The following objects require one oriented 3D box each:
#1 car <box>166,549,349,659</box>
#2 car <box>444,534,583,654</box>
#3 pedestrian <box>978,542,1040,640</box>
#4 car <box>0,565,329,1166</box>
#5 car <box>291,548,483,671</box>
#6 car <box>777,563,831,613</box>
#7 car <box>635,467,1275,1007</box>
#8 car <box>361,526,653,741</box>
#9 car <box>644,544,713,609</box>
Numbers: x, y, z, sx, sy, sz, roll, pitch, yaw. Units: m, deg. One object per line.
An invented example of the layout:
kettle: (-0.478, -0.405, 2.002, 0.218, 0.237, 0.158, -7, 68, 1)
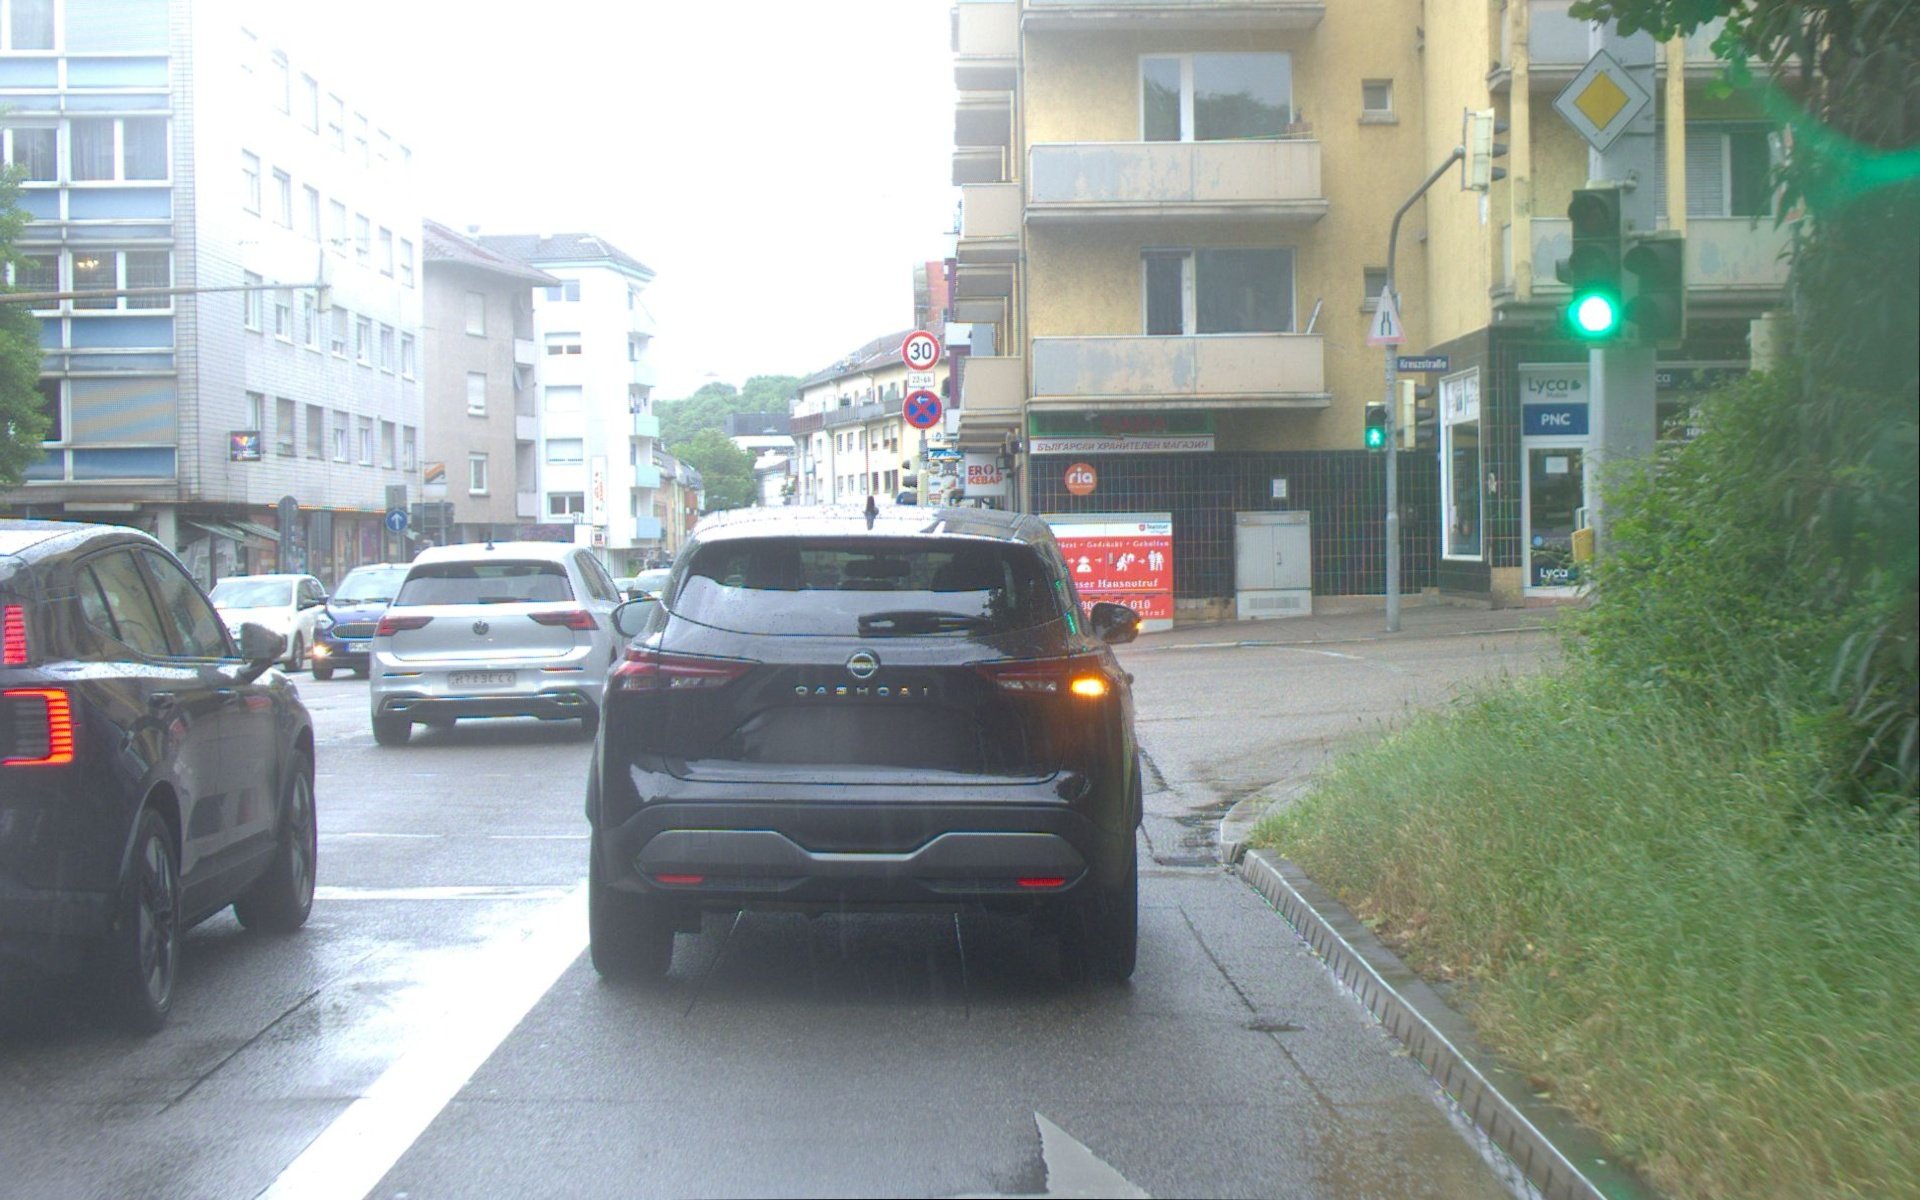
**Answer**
car: (-10.586, 0.029, 52.069, 1.779, 1.473, 3.793, -4, 1, 2)
car: (-7.207, -0.131, 55.827, 1.779, 1.809, 4.407, -2, 1, -2)
pedestrian: (0.822, -0.160, 58.121, 0.835, 1.553, 0.833, -7, 1, -2)
car: (-3.024, 0.636, 10.381, 1.613, 1.415, 3.967, 0, 1, -2)
car: (-7.648, 0.091, 46.178, 1.787, 1.486, 3.814, -3, 1, 2)
car: (-6.723, -0.525, 148.365, 1.993, 2.007, 4.000, -3, 1, 1)
car: (-0.082, 0.387, 12.656, 1.959, 1.647, 4.001, 1, 1, -2)
car: (-3.326, 0.192, 25.896, 1.767, 1.439, 4.001, -1, 1, -2)
car: (-9.478, -0.812, 116.028, 1.910, 2.007, 4.000, -3, 1, 0)
